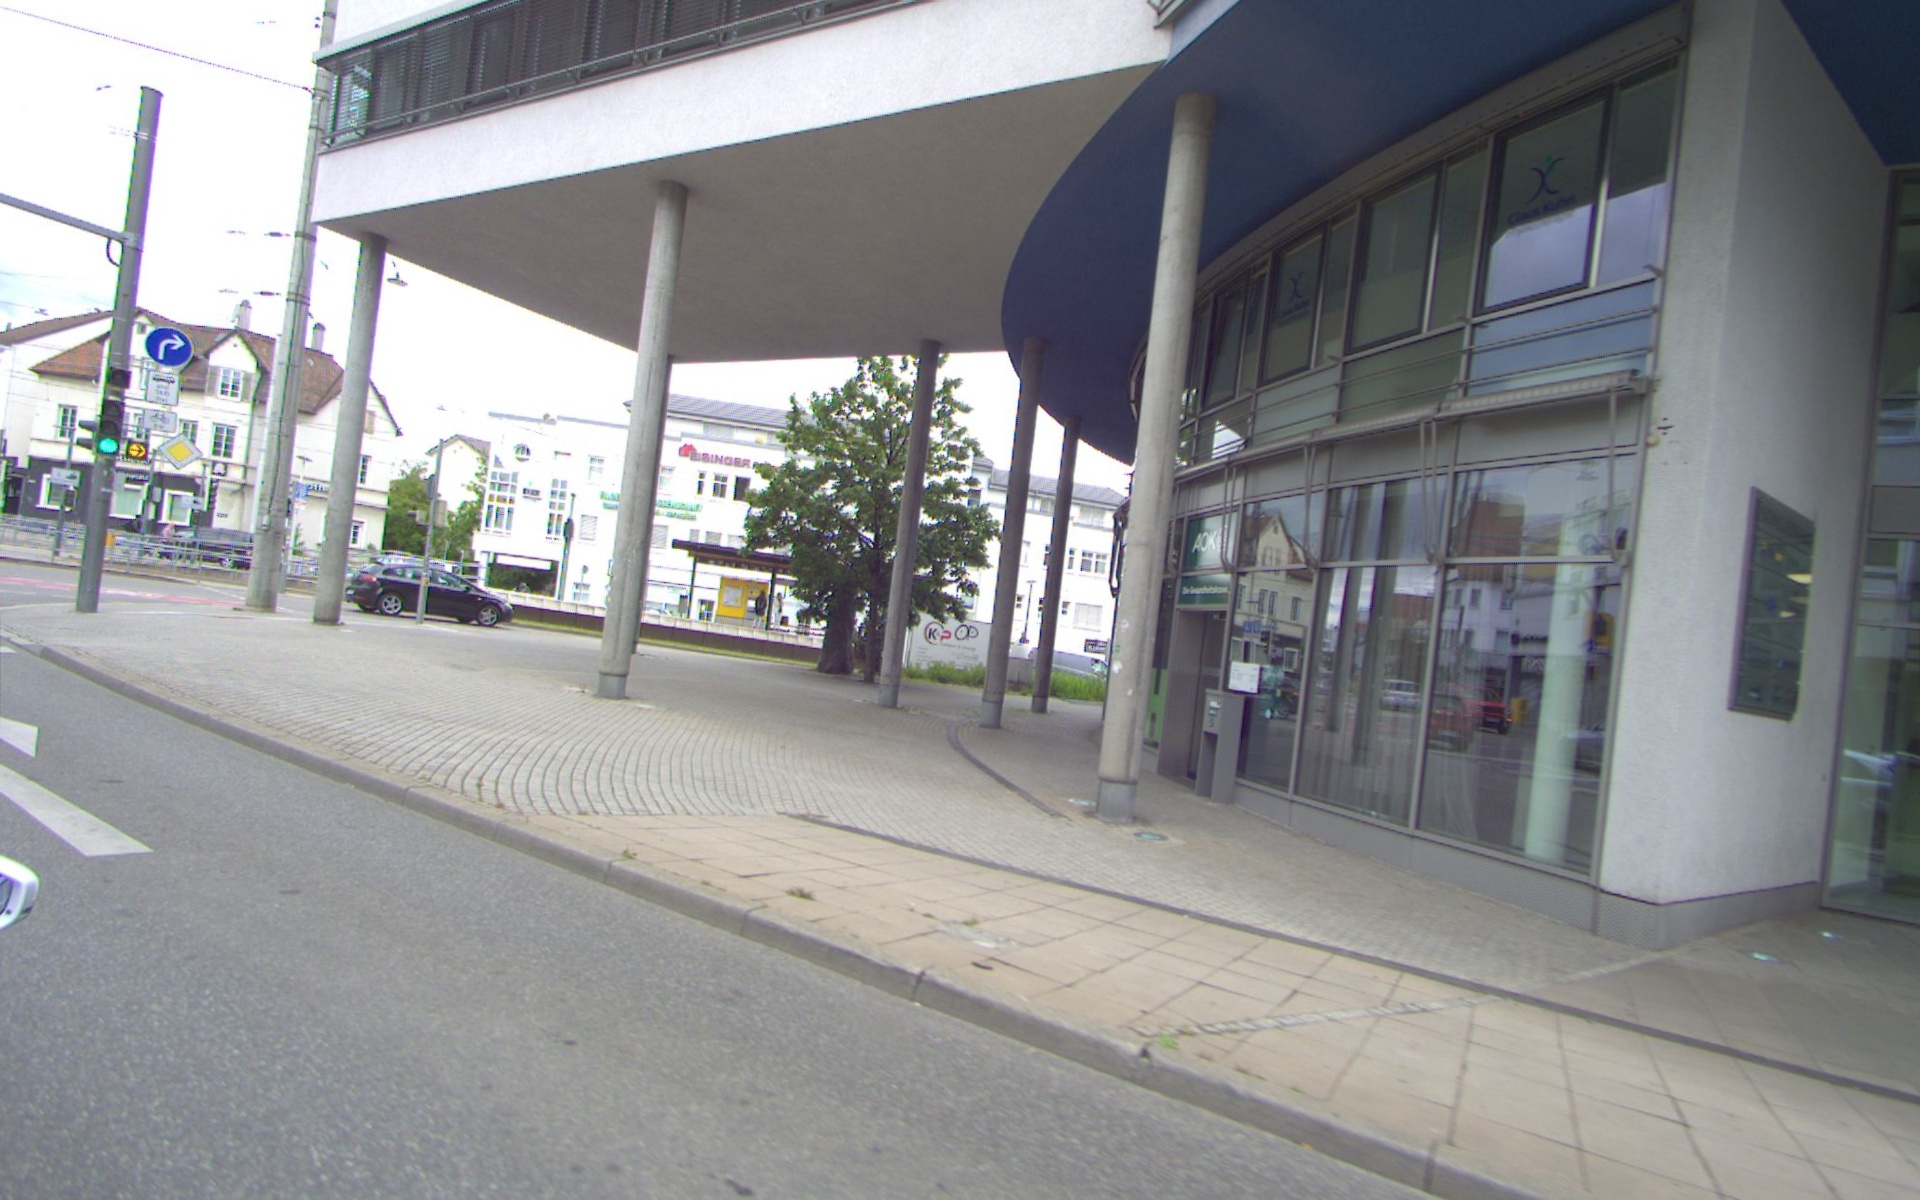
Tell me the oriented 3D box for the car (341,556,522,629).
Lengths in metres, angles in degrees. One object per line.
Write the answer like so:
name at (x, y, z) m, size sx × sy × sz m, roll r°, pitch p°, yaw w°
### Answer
car at (-14.455, -0.169, 27.679) m, size 1.716 × 1.427 × 3.982 m, roll 7°, pitch -1°, yaw 42°

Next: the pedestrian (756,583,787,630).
pedestrian at (-7.814, 0.266, 41.732) m, size 0.778 × 1.794 × 0.687 m, roll 7°, pitch -2°, yaw 41°

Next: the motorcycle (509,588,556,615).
motorcycle at (-21.649, 0.100, 51.000) m, size 1.947 × 1.085 × 0.763 m, roll 8°, pitch -3°, yaw -9°

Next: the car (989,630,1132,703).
car at (3.770, 2.496, 37.539) m, size 4.848 × 1.966 × 1.874 m, roll 10°, pitch -4°, yaw -25°

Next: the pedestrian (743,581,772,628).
pedestrian at (-8.123, 0.174, 40.417) m, size 0.779 × 1.737 × 0.686 m, roll 9°, pitch -2°, yaw -23°

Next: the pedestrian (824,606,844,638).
pedestrian at (-5.345, 0.932, 42.782) m, size 0.581 × 1.279 × 0.568 m, roll 9°, pitch -2°, yaw -18°

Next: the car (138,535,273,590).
car at (-35.928, -1.765, 48.029) m, size 4.624 × 1.841 × 1.860 m, roll 8°, pitch -3°, yaw -15°

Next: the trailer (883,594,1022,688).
trailer at (-0.259, 1.447, 35.679) m, size 4.272 × 2.641 × 1.874 m, roll 10°, pitch -3°, yaw -24°

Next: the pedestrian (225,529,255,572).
pedestrian at (-31.498, -2.165, 44.006) m, size 0.781 × 1.737 × 0.645 m, roll 9°, pitch -2°, yaw -28°

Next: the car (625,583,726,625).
car at (-14.768, 0.250, 52.405) m, size 4.703 × 1.487 × 1.989 m, roll 8°, pitch -3°, yaw -9°

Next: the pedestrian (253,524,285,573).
pedestrian at (-25.751, -1.914, 37.481) m, size 0.640 × 1.739 × 0.702 m, roll 7°, pitch 0°, yaw -18°

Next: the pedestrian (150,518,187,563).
pedestrian at (-32.887, -2.467, 41.828) m, size 0.638 × 1.737 × 0.790 m, roll 8°, pitch -2°, yaw 3°

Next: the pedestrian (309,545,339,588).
pedestrian at (-27.216, -1.428, 43.051) m, size 0.639 × 1.737 × 0.788 m, roll 9°, pitch -2°, yaw -12°

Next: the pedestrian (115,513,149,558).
pedestrian at (-34.293, -2.668, 41.691) m, size 0.637 × 1.739 × 0.705 m, roll 7°, pitch 0°, yaw 18°

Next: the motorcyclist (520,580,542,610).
motorcyclist at (-21.737, -0.259, 50.990) m, size 0.681 × 1.410 × 0.763 m, roll 7°, pitch -2°, yaw -8°

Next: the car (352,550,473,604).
car at (-27.316, -1.113, 50.344) m, size 4.703 × 1.940 × 1.989 m, roll 8°, pitch -3°, yaw -9°

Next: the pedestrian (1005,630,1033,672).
pedestrian at (2.644, 2.259, 44.954) m, size 0.683 × 1.737 × 0.783 m, roll 9°, pitch -2°, yaw -32°
